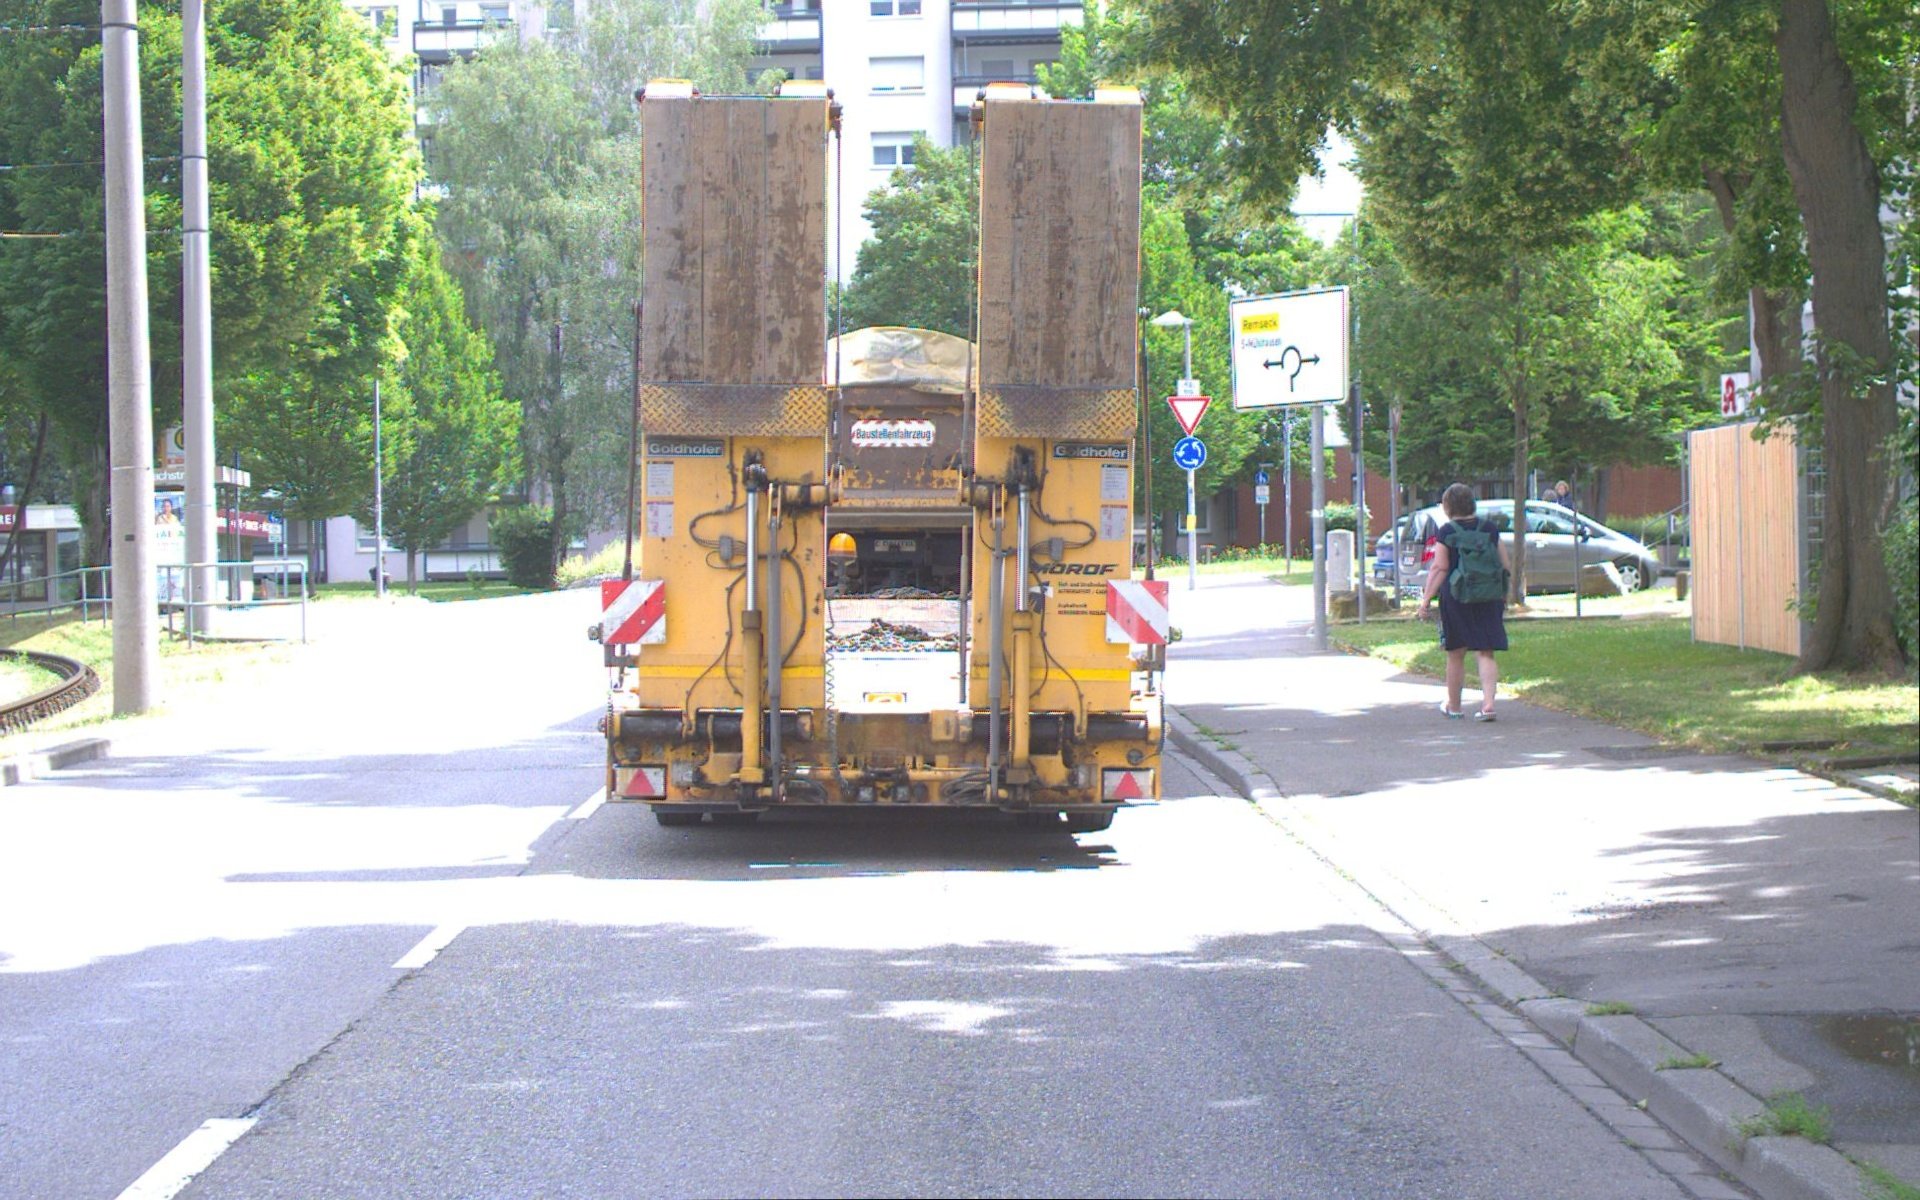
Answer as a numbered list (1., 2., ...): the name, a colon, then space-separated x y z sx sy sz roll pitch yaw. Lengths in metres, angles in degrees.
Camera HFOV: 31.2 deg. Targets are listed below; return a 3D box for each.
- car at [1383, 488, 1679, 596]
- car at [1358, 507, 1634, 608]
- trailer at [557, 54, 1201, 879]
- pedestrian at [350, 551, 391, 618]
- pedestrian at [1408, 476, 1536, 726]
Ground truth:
1. car: 8.561 -0.868 51.662 3.986 1.556 1.760 0 1 -12
2. car: 8.578 -0.686 55.149 3.986 1.556 1.760 0 1 -12
3. trailer: -0.698 -0.711 21.442 2.827 3.633 12.356 1 1 -3
4. pedestrian: -17.835 -0.466 104.007 0.907 2.007 0.962 0 1 -31
5. pedestrian: 3.591 -0.004 24.165 0.718 1.700 0.766 -2 1 -1
